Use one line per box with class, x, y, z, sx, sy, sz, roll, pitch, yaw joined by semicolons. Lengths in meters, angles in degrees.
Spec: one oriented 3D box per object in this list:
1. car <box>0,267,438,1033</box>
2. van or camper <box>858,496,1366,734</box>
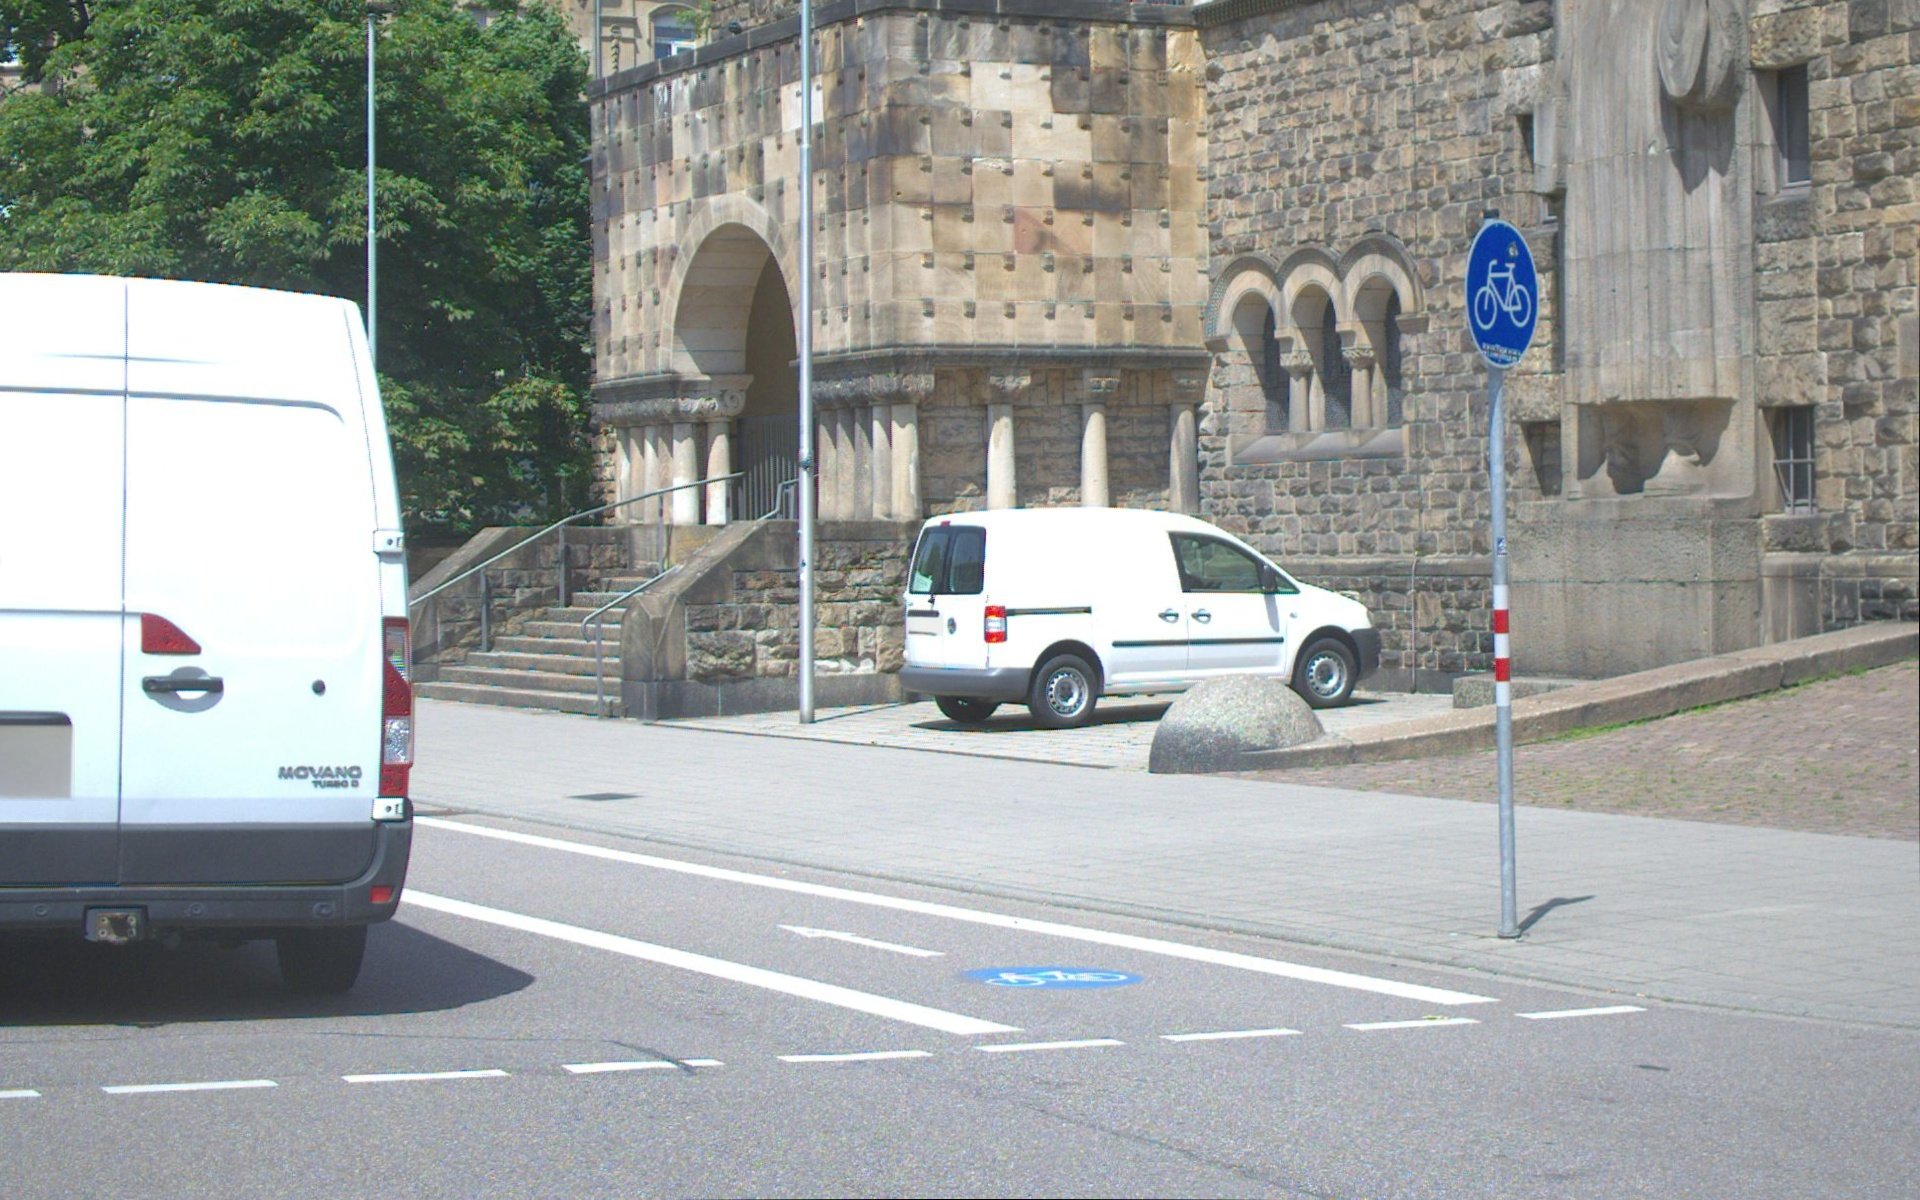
car;-3.677;0.149;13.483;2.116;2.451;5.055;1;0;-21
van or camper;1.330;0.093;29.754;3.987;1.819;1.803;-3;1;-30
